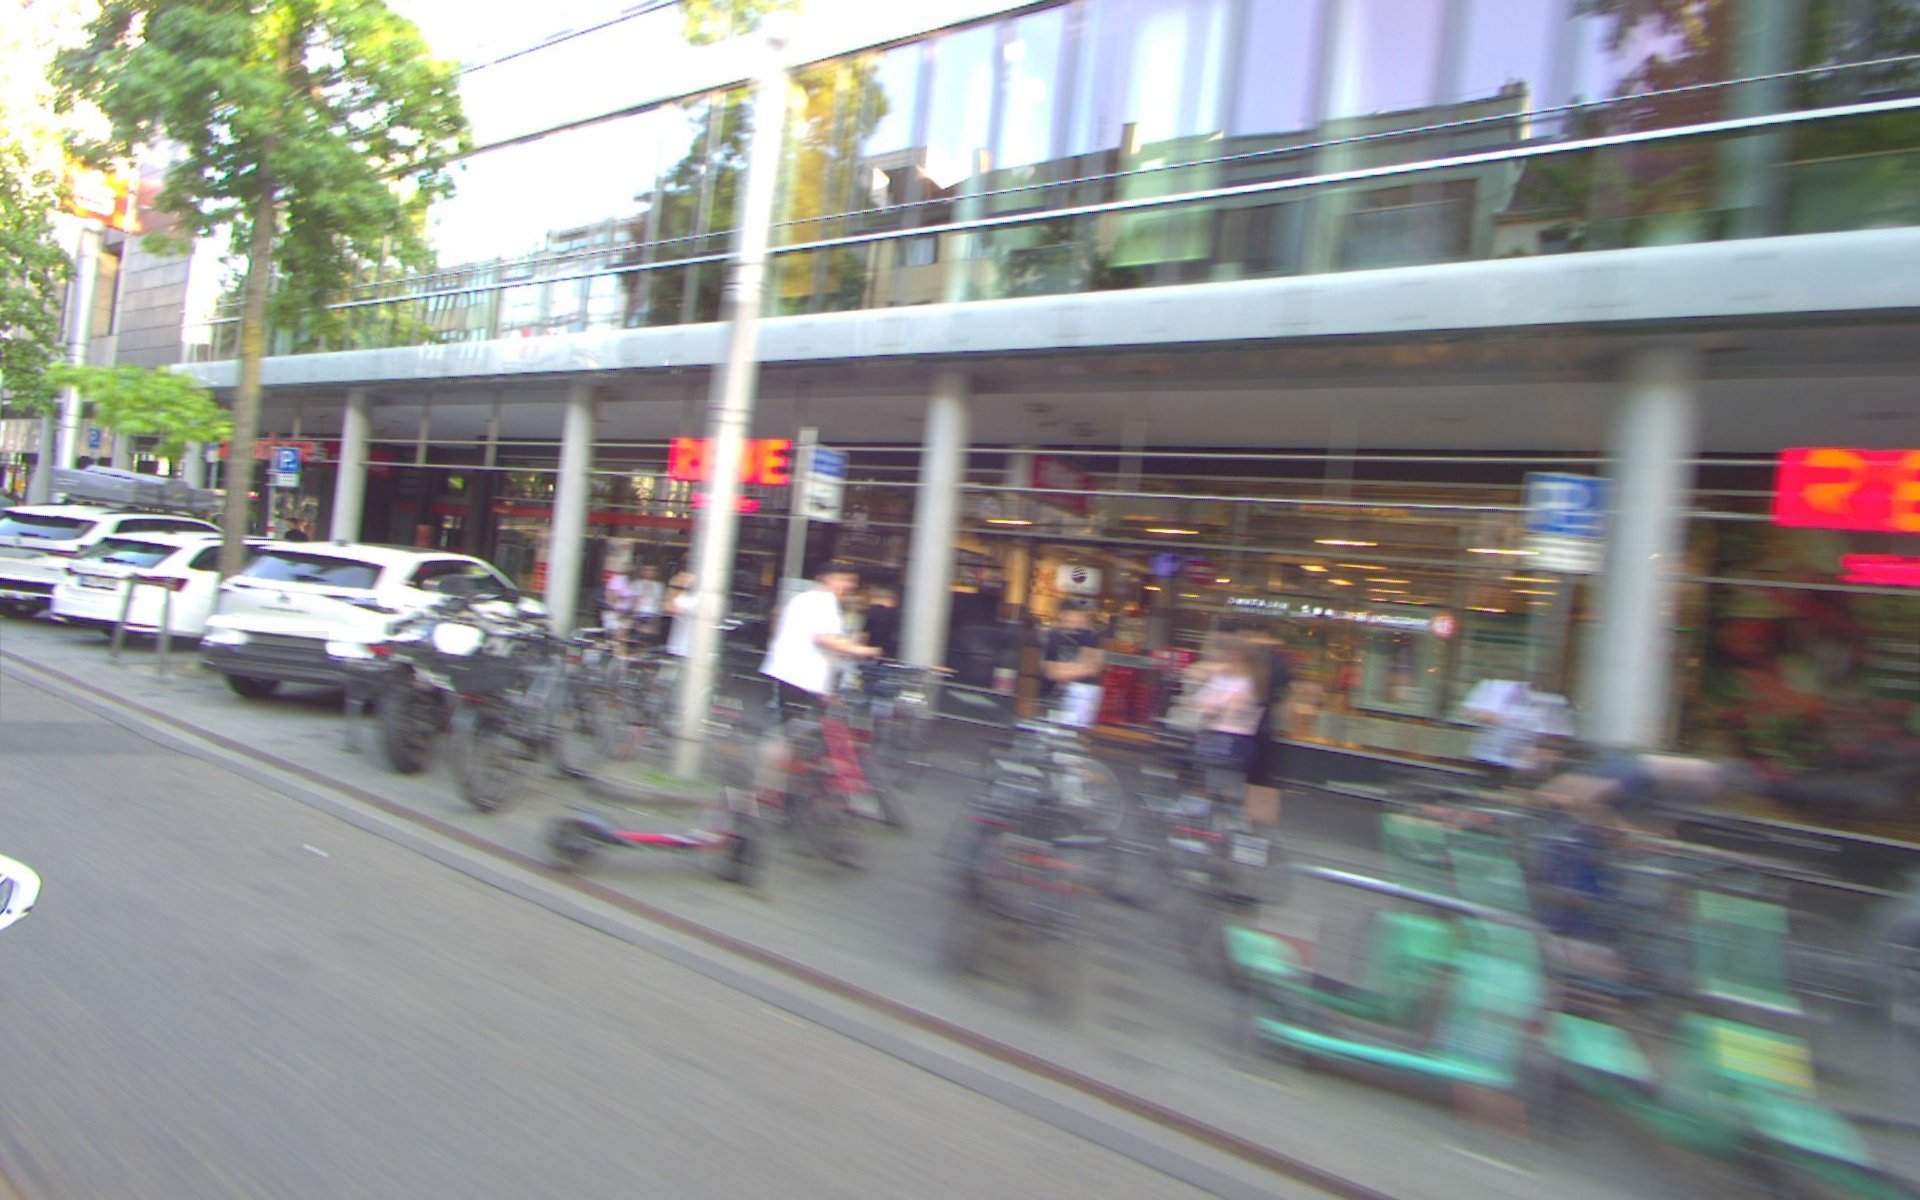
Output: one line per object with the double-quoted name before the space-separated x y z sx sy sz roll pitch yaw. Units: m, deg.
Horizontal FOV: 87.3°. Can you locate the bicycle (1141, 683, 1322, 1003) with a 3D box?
"bicycle" 1.490 1.208 5.617 0.668 1.290 1.833 7 1 14

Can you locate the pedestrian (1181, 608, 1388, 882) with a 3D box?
"pedestrian" 2.371 1.041 7.444 0.875 1.836 0.932 6 1 -22

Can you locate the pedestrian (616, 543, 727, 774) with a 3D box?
"pedestrian" -2.455 0.469 8.635 0.590 1.837 0.817 7 3 -6

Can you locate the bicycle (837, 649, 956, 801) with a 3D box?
"bicycle" -0.529 1.080 9.258 0.809 1.108 1.833 7 0 2

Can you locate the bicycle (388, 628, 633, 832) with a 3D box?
"bicycle" -3.046 0.824 7.051 0.792 1.131 1.749 7 0 1

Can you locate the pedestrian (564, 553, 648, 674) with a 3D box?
"pedestrian" -5.367 0.210 15.254 0.792 1.719 0.681 6 -1 32

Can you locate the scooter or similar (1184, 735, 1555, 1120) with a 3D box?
"scooter or similar" 1.743 1.312 4.413 0.566 1.220 1.266 5 2 -43

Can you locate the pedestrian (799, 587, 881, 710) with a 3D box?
"pedestrian" -1.626 0.662 13.654 0.654 1.566 0.681 6 -2 32

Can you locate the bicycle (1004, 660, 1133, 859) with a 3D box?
"bicycle" 0.793 1.168 7.856 0.545 1.205 1.693 7 1 -5

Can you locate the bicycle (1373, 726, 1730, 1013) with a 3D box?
"bicycle" 3.140 1.405 5.348 1.639 1.266 0.637 7 2 -22

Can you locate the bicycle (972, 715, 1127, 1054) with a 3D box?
"bicycle" 0.392 1.228 4.855 0.485 1.090 1.748 7 1 3

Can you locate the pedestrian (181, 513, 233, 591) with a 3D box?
"pedestrian" -16.924 -1.079 22.601 0.743 1.637 0.596 8 2 32

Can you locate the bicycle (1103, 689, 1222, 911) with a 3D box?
"bicycle" 1.425 1.271 6.864 0.492 1.164 1.695 7 1 17

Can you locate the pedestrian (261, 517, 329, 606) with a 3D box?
"pedestrian" -14.501 -0.828 21.958 0.743 1.805 0.878 8 2 32

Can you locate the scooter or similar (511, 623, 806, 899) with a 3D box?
"scooter or similar" -1.667 0.888 5.756 1.369 1.320 0.696 7 1 -6

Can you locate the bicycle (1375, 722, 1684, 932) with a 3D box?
"bicycle" 4.185 1.616 7.561 0.568 1.096 1.866 6 1 -34

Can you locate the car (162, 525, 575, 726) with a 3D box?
"car" -6.036 0.197 11.021 1.842 1.583 4.341 6 1 0

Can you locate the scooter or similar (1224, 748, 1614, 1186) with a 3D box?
"scooter or similar" 1.742 1.303 3.882 1.195 1.238 0.482 6 1 34

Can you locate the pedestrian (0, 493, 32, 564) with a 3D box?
"pedestrian" -22.966 -1.755 23.995 0.743 1.599 0.879 8 -1 32

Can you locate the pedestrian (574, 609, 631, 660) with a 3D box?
"pedestrian" -6.250 0.604 17.600 0.654 0.791 0.607 6 -1 35

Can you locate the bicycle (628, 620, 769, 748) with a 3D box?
"bicycle" -2.710 0.829 10.656 0.828 1.131 1.791 6 0 3

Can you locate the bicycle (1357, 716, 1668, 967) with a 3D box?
"bicycle" 3.300 1.446 6.023 1.571 1.305 0.577 7 2 -18

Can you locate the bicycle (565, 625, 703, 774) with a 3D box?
"bicycle" -2.846 0.826 8.932 0.543 1.048 1.595 6 3 3

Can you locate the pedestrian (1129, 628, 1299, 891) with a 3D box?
"pedestrian" 1.711 1.065 6.846 0.696 1.645 0.656 6 1 -22

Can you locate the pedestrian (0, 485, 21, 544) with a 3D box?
"pedestrian" -28.007 -2.513 29.371 0.743 1.637 0.596 8 2 33

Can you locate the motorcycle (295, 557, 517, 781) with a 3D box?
"motorcycle" -4.330 0.460 8.087 0.783 1.490 2.200 7 1 -11

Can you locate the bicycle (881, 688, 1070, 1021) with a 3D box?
"bicycle" 0.107 1.161 5.233 0.667 1.144 1.993 7 1 3

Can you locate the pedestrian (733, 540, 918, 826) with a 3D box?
"pedestrian" -0.999 0.588 7.642 0.847 1.939 0.951 8 3 21

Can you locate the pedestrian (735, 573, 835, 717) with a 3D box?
"pedestrian" -2.258 0.586 12.989 0.792 1.719 0.681 8 0 32

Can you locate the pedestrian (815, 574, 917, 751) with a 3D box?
"pedestrian" -1.048 0.675 11.073 0.781 1.836 0.656 6 1 -22

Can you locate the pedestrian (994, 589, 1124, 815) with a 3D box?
"pedestrian" 0.851 0.872 8.751 0.652 1.836 0.712 6 2 -27

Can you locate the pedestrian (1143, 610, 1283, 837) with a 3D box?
"pedestrian" 2.166 1.029 8.621 0.722 1.776 0.712 8 2 44

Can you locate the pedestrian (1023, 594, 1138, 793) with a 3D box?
"pedestrian" 1.195 0.906 9.977 0.706 1.836 0.657 7 2 37

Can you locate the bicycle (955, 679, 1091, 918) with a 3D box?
"bicycle" 0.450 1.158 6.381 0.469 1.153 1.687 7 1 13

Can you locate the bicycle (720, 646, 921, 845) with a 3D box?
"bicycle" -0.969 1.001 7.616 0.685 1.163 2.000 7 1 14

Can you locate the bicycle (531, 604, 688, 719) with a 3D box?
"bicycle" -4.013 0.678 11.697 0.918 1.131 1.750 6 0 9

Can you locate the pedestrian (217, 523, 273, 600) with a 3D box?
"pedestrian" -16.418 -0.891 23.092 1.005 1.637 0.596 8 2 32

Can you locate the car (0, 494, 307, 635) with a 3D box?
"car" -12.060 -0.520 14.883 1.885 1.659 4.205 6 1 1

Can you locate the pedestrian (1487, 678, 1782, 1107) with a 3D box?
"pedestrian" 3.075 1.240 4.600 0.786 1.646 0.761 5 2 -39

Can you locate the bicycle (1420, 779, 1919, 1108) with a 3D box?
"bicycle" 3.202 1.514 4.554 1.845 1.090 0.630 7 2 -3

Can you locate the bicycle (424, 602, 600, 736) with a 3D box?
"bicycle" -4.393 0.632 10.029 0.902 1.131 1.749 6 0 -2

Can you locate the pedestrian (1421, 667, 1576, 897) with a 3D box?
"pedestrian" 4.095 1.359 7.661 0.756 1.591 0.625 6 0 -35

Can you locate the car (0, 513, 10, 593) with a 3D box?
"car" -16.238 -0.816 14.944 1.786 1.364 4.416 8 -1 -27

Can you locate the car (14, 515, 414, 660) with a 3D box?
"car" -9.725 -0.148 13.623 1.828 1.476 4.184 6 1 10

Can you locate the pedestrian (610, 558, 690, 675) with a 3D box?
"pedestrian" -4.863 0.267 15.775 0.792 1.719 0.663 6 -1 32

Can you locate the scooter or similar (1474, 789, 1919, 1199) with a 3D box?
"scooter or similar" 2.569 1.427 3.665 0.490 1.196 1.332 7 0 -4

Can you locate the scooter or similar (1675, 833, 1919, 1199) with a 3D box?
"scooter or similar" 3.311 1.539 3.325 0.571 1.164 1.397 7 0 -14

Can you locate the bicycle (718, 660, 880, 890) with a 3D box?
"bicycle" -0.984 1.046 6.595 0.612 1.090 1.832 7 2 1

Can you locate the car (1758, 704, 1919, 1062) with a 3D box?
"car" 5.805 1.559 3.574 1.919 1.661 4.672 6 0 -3
